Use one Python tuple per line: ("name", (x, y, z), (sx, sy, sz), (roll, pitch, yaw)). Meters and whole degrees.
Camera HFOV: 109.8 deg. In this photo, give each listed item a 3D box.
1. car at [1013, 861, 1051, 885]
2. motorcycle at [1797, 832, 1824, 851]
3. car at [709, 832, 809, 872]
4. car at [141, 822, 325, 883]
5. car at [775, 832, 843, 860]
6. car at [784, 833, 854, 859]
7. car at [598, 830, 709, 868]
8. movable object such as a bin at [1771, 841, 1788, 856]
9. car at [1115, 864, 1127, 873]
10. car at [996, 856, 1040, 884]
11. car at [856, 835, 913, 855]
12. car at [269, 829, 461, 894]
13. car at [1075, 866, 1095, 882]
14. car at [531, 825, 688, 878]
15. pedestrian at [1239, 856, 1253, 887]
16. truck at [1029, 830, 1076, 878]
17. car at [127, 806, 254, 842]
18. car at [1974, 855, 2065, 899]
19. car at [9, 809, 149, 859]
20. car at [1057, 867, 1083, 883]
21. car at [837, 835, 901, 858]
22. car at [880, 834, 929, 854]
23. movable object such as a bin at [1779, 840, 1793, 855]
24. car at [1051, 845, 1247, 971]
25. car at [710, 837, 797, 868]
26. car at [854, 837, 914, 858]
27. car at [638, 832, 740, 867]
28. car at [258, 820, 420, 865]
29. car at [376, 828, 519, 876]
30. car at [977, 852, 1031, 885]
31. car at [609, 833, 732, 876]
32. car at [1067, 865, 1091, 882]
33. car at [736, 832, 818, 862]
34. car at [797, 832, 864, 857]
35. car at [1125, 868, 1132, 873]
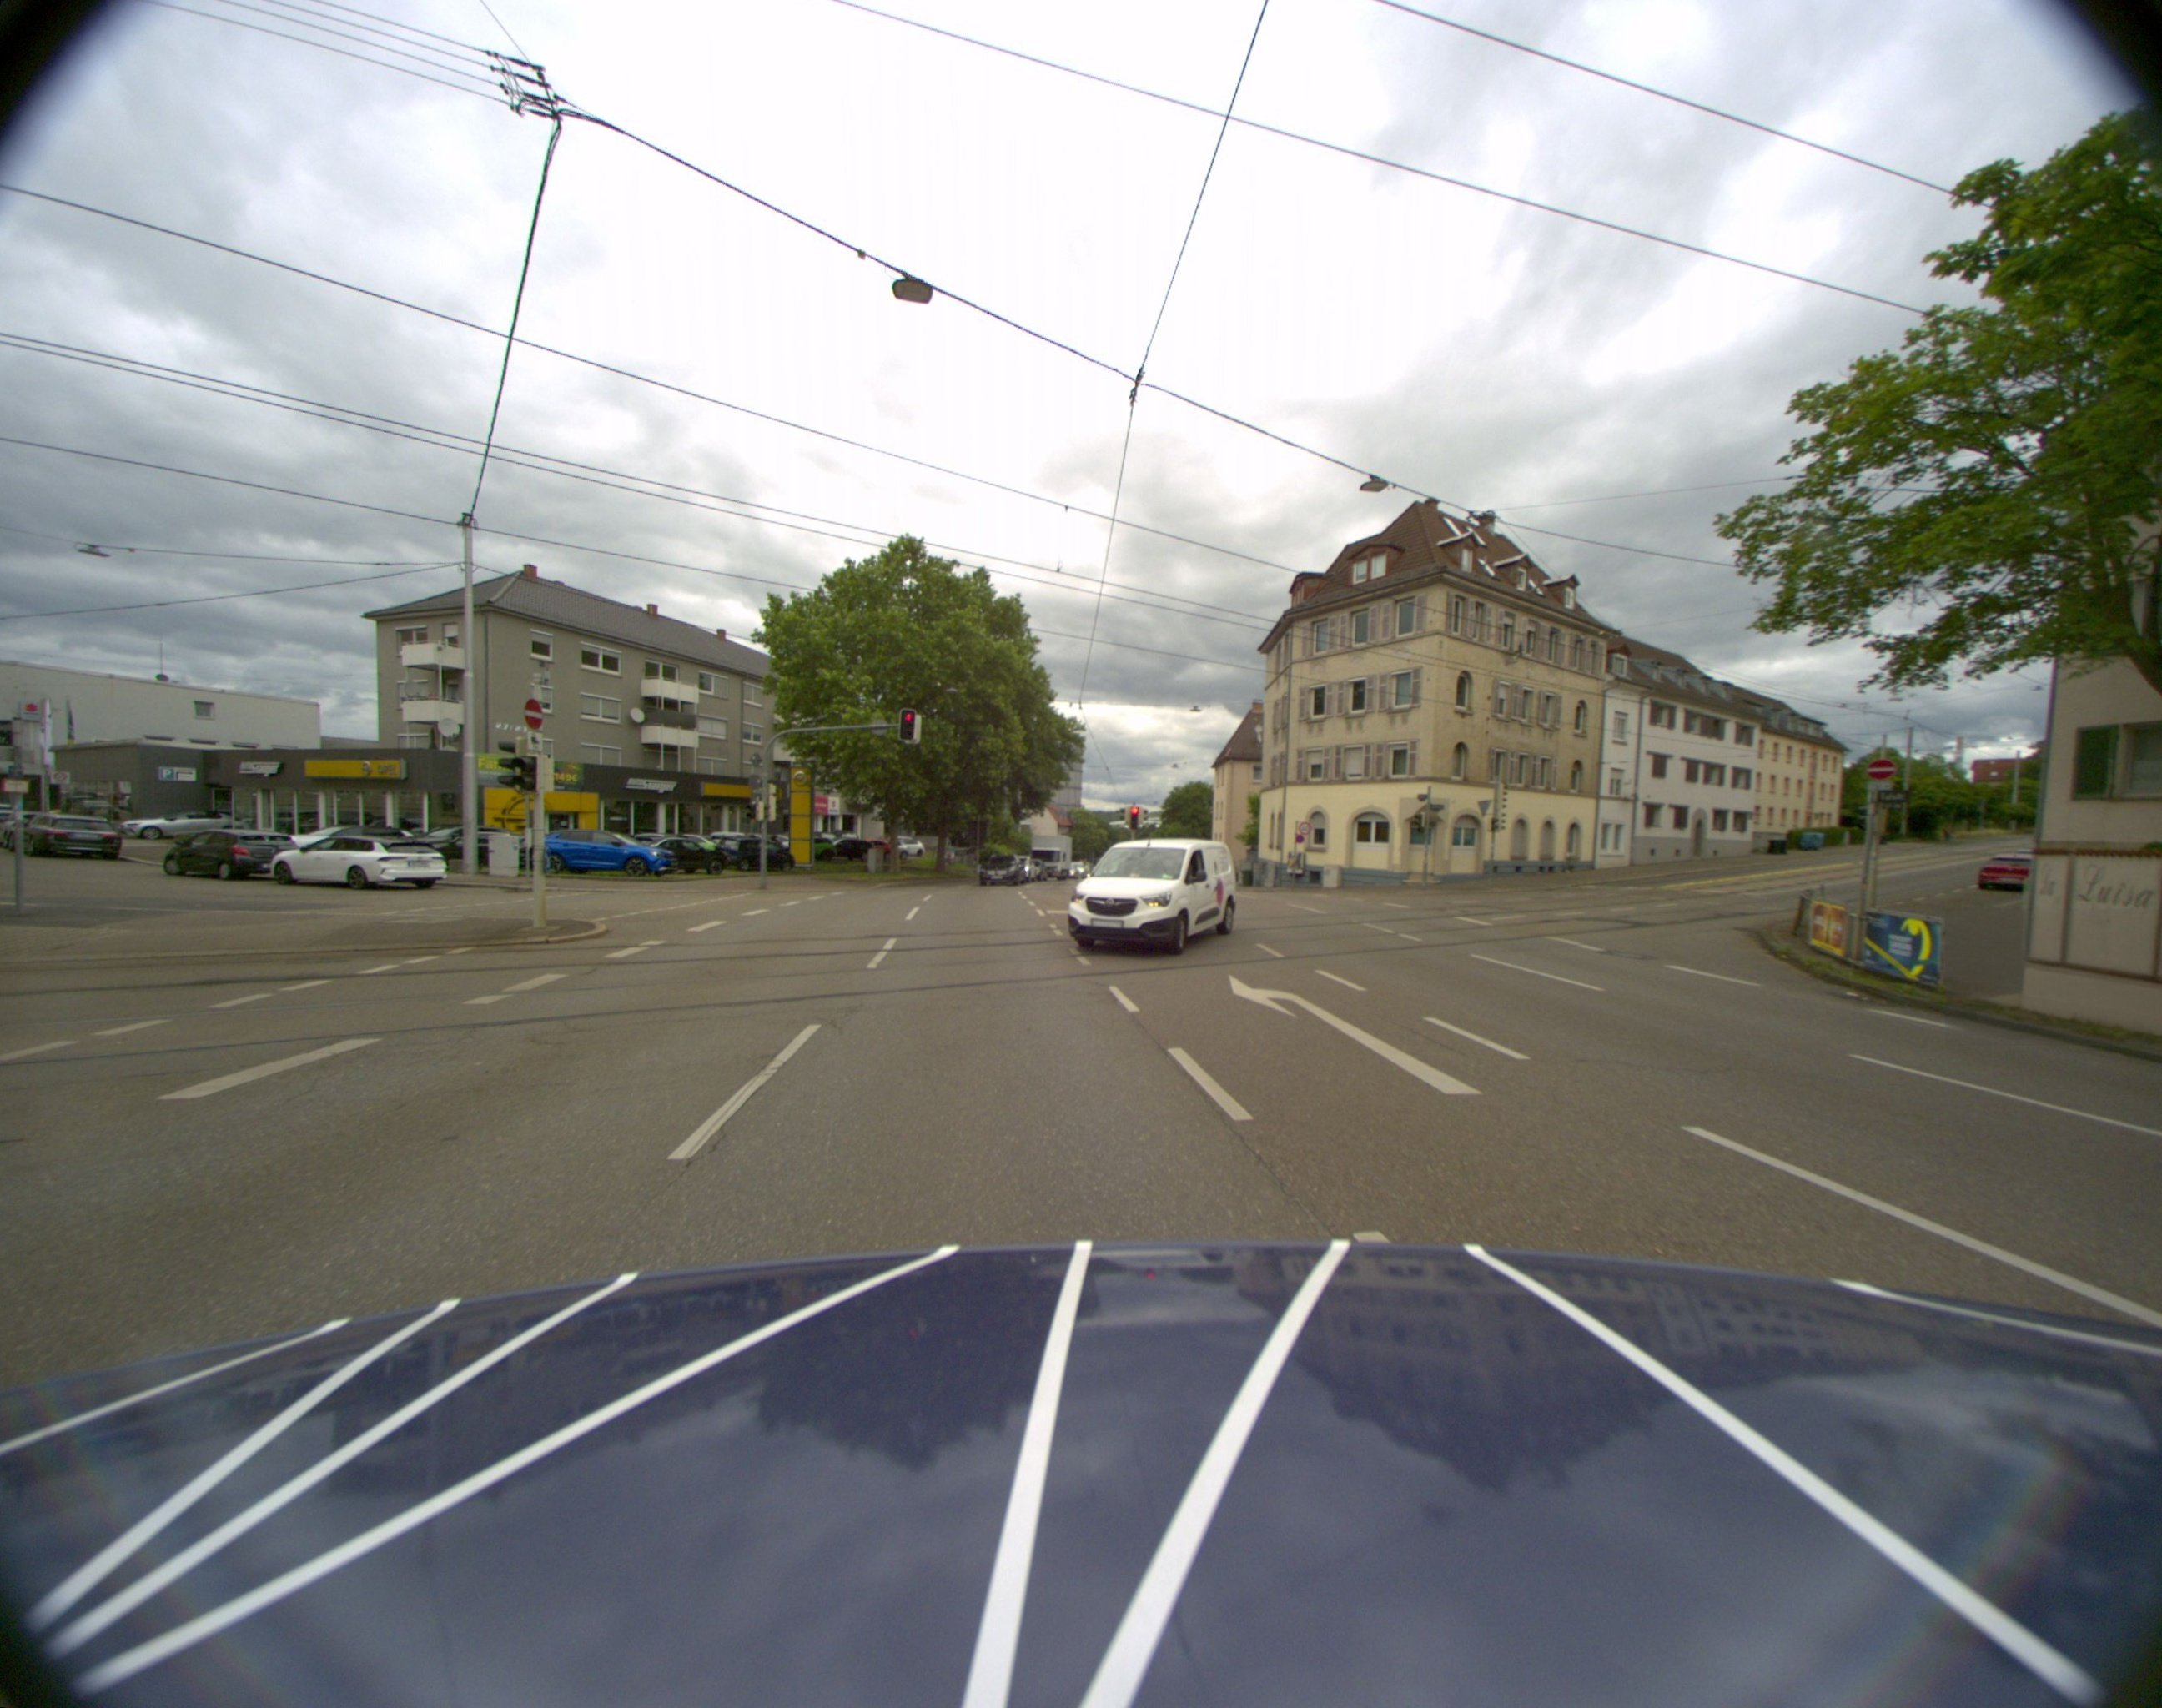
("car", (-3.144, 1.214, 49.670), (1.998, 1.457, 4.410), (0, 0, 2))
("motorcycle", (55.310, -0.957, 57.586), (1.939, 1.383, 0.730), (-1, 7, -26))
("car", (-15.633, -0.057, 37.093), (1.824, 1.598, 4.178), (8, 1, 26))
("car", (-25.066, -0.044, 22.503), (4.132, 1.526, 1.921), (3, 0, 15))
("car", (-16.782, -0.489, 46.964), (3.618, 1.544, 1.617), (2, 1, -35))
("car", (-17.066, -0.523, 49.512), (4.008, 1.496, 1.750), (2, 1, -32))
("car", (-19.640, -0.216, 35.048), (3.997, 1.541, 1.863), (2, 1, -1))
("movable object such as a bin", (48.691, -0.400, 52.992), (0.603, 1.004, 0.636), (-1, 7, -32))
("car", (7.180, 2.506, 134.898), (1.998, 1.590, 4.002), (0, -1, 5))
("car", (-3.568, 0.862, 43.674), (1.998, 1.517, 4.258), (0, 0, 2))
("car", (-15.773, -0.714, 61.034), (4.008, 1.496, 1.858), (2, 1, -32))
("car", (-19.994, 0.190, 21.271), (4.133, 1.526, 1.921), (3, 0, 13))
("car", (0.500, 2.249, 85.787), (1.998, 1.620, 4.410), (0, 0, 4))
("car", (-16.530, -0.070, 26.808), (4.259, 1.568, 1.828), (3, -1, -6))
("pedestrian", (10.406, 1.090, 47.929), (0.746, 1.925, 0.903), (-1, 0, 3))
("truck", (-2.128, 0.021, 59.931), (2.770, 3.481, 8.173), (0, 0, 4))
("car", (-44.901, -1.507, 38.382), (1.714, 1.526, 3.903), (3, 0, 31))
("car", (38.740, 0.898, 31.336), (4.268, 1.431, 1.785), (-2, 6, -32))
("car", (-35.238, -0.698, 26.732), (4.130, 1.526, 1.922), (3, 0, 22))
("car", (-0.948, 1.868, 69.040), (1.917, 1.291, 4.411), (0, 0, 5))
("car", (-15.358, -0.557, 55.087), (4.009, 1.496, 1.857), (2, 1, -44))
("car", (-14.951, -0.856, 64.490), (1.786, 1.496, 3.626), (3, 1, 41))
("movable object such as a bin", (49.648, -0.436, 53.483), (0.500, 1.004, 0.563), (-3, 7, -41))
("car", (1.431, 0.769, 13.597), (1.884, 1.828, 4.685), (1, 1, 27))
("car", (-18.152, -0.082, 42.218), (3.997, 1.541, 1.863), (2, 1, 0))
("car", (-15.066, -0.481, 58.284), (4.009, 1.496, 1.857), (2, 1, -41))
("car", (-19.198, -0.229, 37.286), (3.995, 1.541, 1.864), (2, 1, 4))
("car", (-28.898, -0.399, 29.764), (1.789, 1.526, 4.125), (3, 0, 22))
("car", (-25.705, -0.057, 31.027), (1.709, 1.770, 4.251), (3, 0, 13))
("car", (-3.679, 0.658, 36.956), (1.998, 1.517, 4.258), (0, 0, 2))
("car", (-16.574, 0.055, 30.871), (1.824, 1.468, 4.009), (3, -1, 27))
("car", (-0.143, 1.919, 76.844), (1.998, 1.620, 4.411), (0, 0, 6))
("car", (-17.645, -0.397, 44.215), (3.997, 1.541, 1.863), (2, 1, 0))
("car", (-17.044, -0.625, 51.726), (4.008, 1.496, 1.858), (2, 1, -32))
("car", (15.670, 5.436, 250.102), (1.998, 1.590, 4.002), (0, -1, 5))
